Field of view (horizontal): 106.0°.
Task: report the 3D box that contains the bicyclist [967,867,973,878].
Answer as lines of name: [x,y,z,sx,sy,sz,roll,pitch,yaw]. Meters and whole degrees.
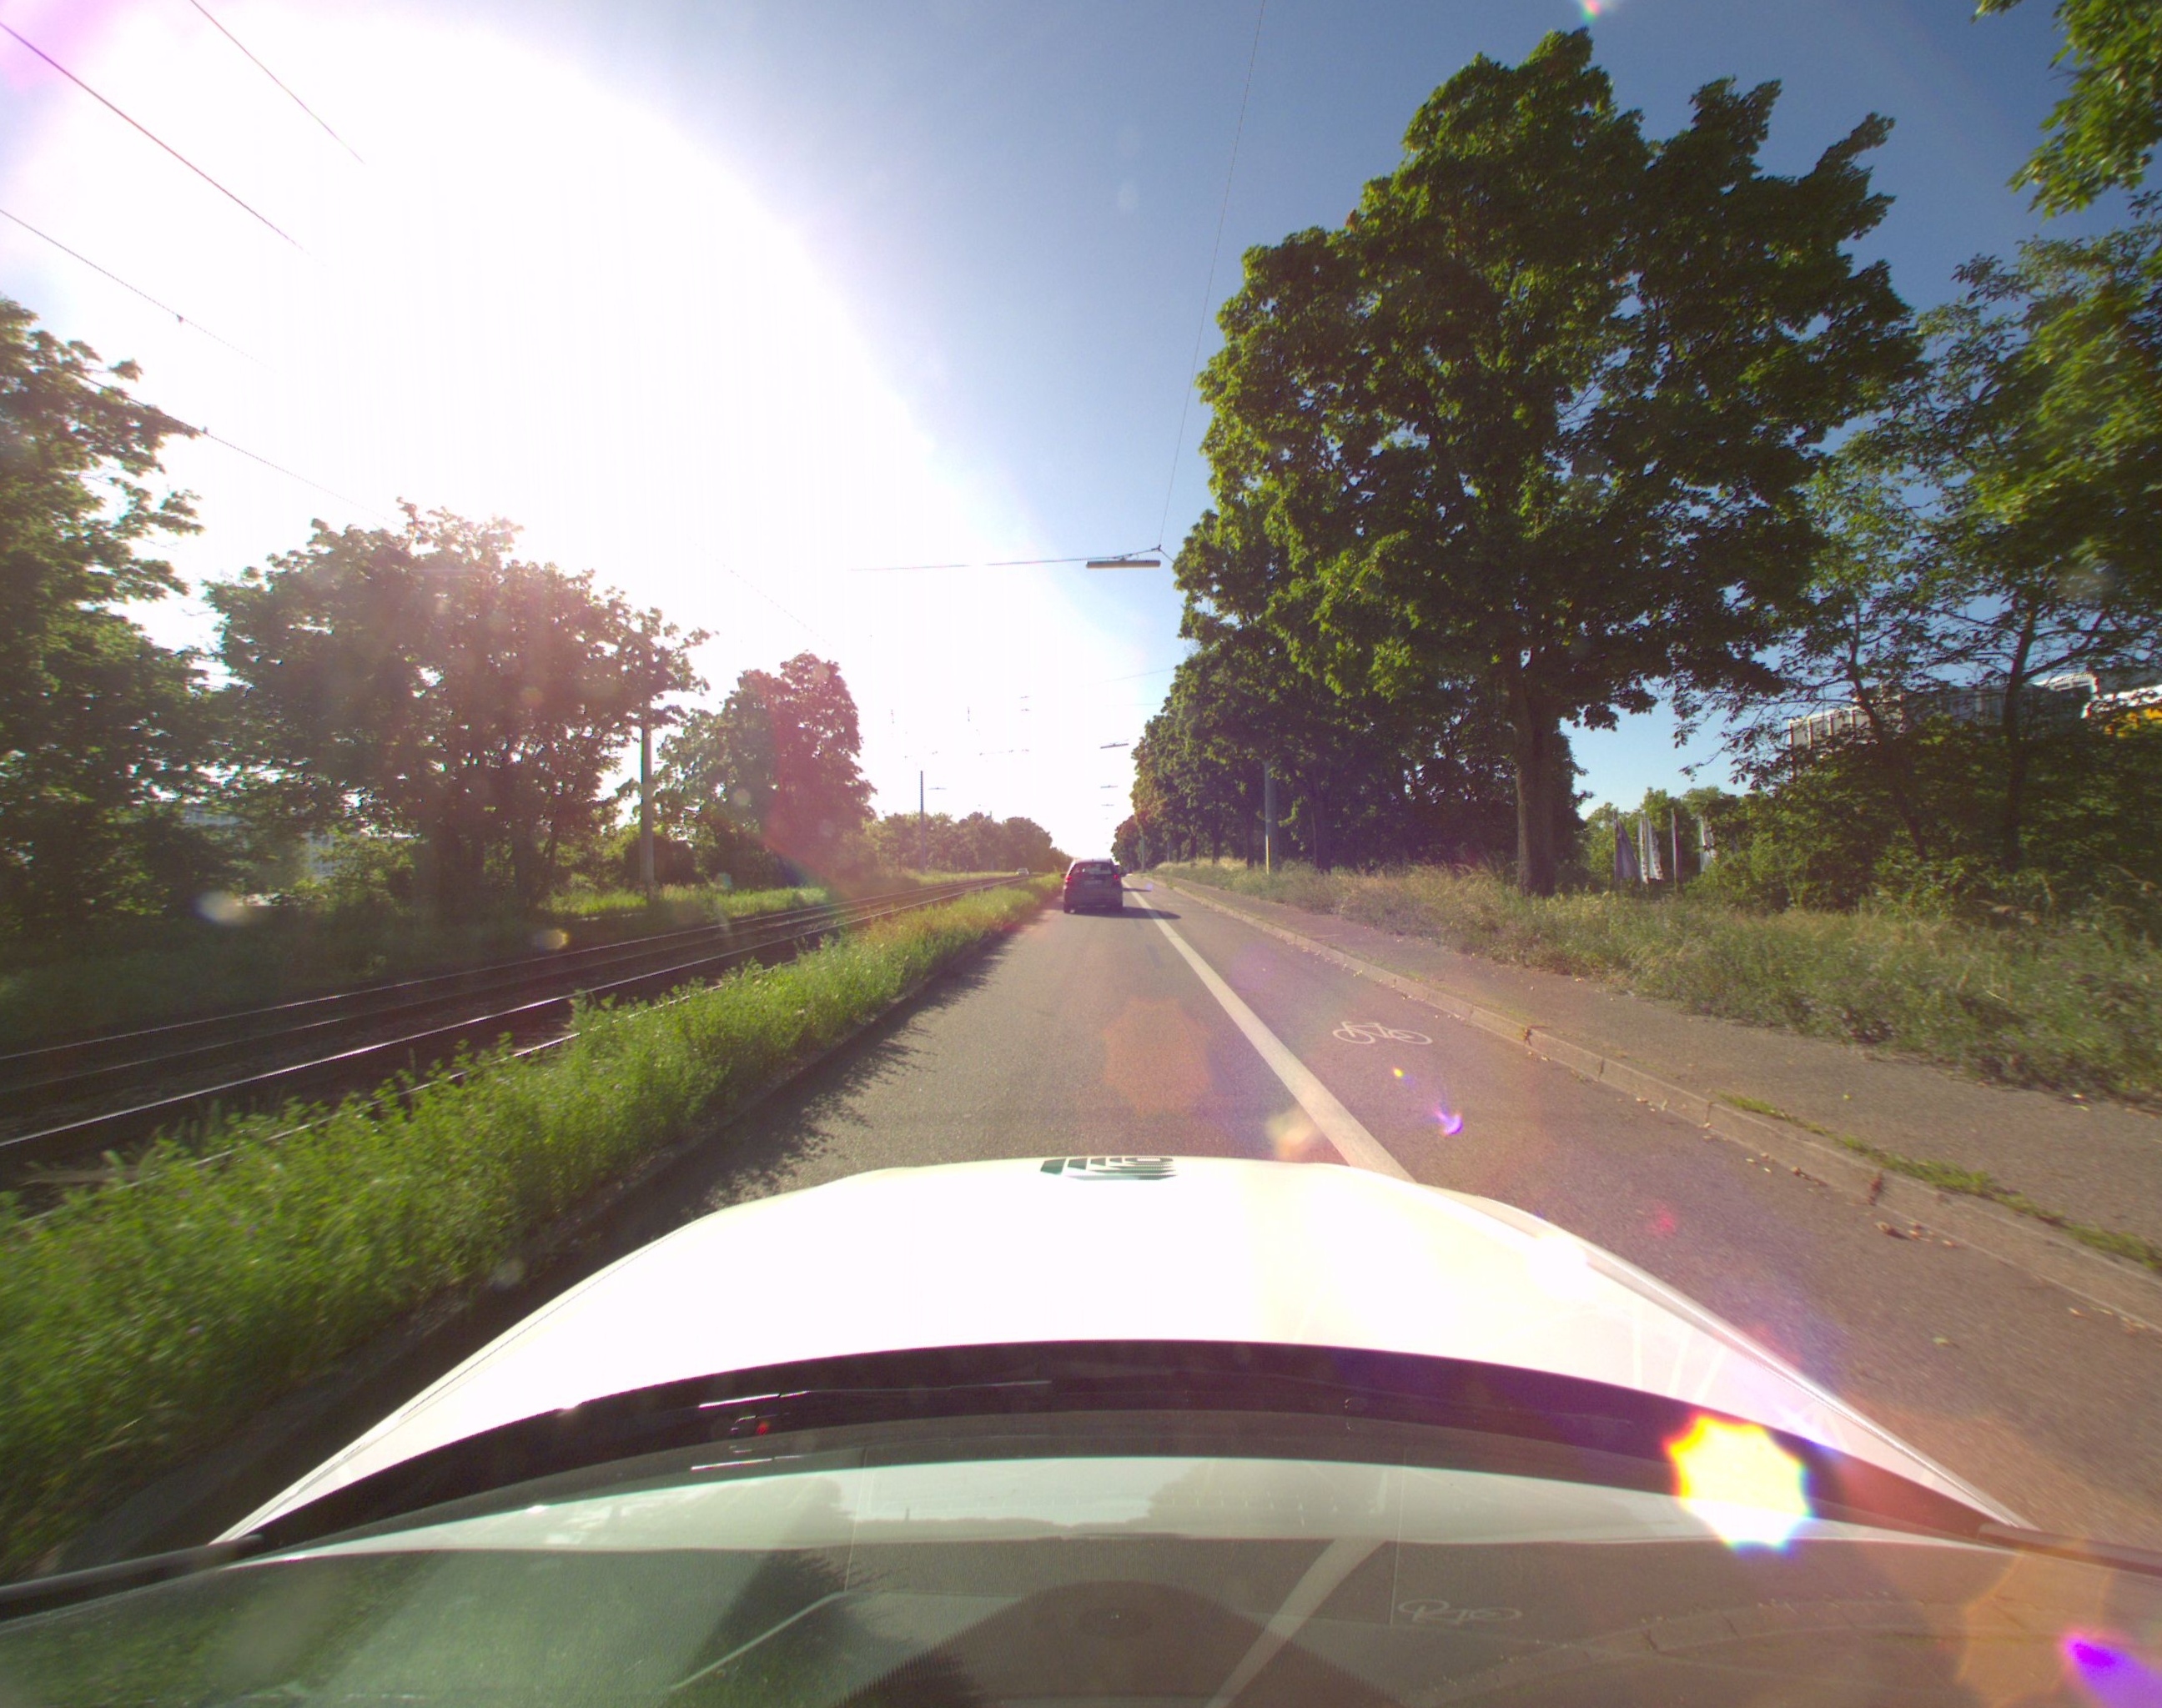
bicyclist: [-13.390,2.229,98.043,0.580,1.310,0.988,0,-1,2]

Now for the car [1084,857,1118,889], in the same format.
car: [1.033,0.920,40.880,1.648,1.507,3.813,0,0,2]

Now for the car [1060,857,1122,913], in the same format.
car: [0.352,0.848,23.975,1.663,1.507,3.813,0,0,2]
